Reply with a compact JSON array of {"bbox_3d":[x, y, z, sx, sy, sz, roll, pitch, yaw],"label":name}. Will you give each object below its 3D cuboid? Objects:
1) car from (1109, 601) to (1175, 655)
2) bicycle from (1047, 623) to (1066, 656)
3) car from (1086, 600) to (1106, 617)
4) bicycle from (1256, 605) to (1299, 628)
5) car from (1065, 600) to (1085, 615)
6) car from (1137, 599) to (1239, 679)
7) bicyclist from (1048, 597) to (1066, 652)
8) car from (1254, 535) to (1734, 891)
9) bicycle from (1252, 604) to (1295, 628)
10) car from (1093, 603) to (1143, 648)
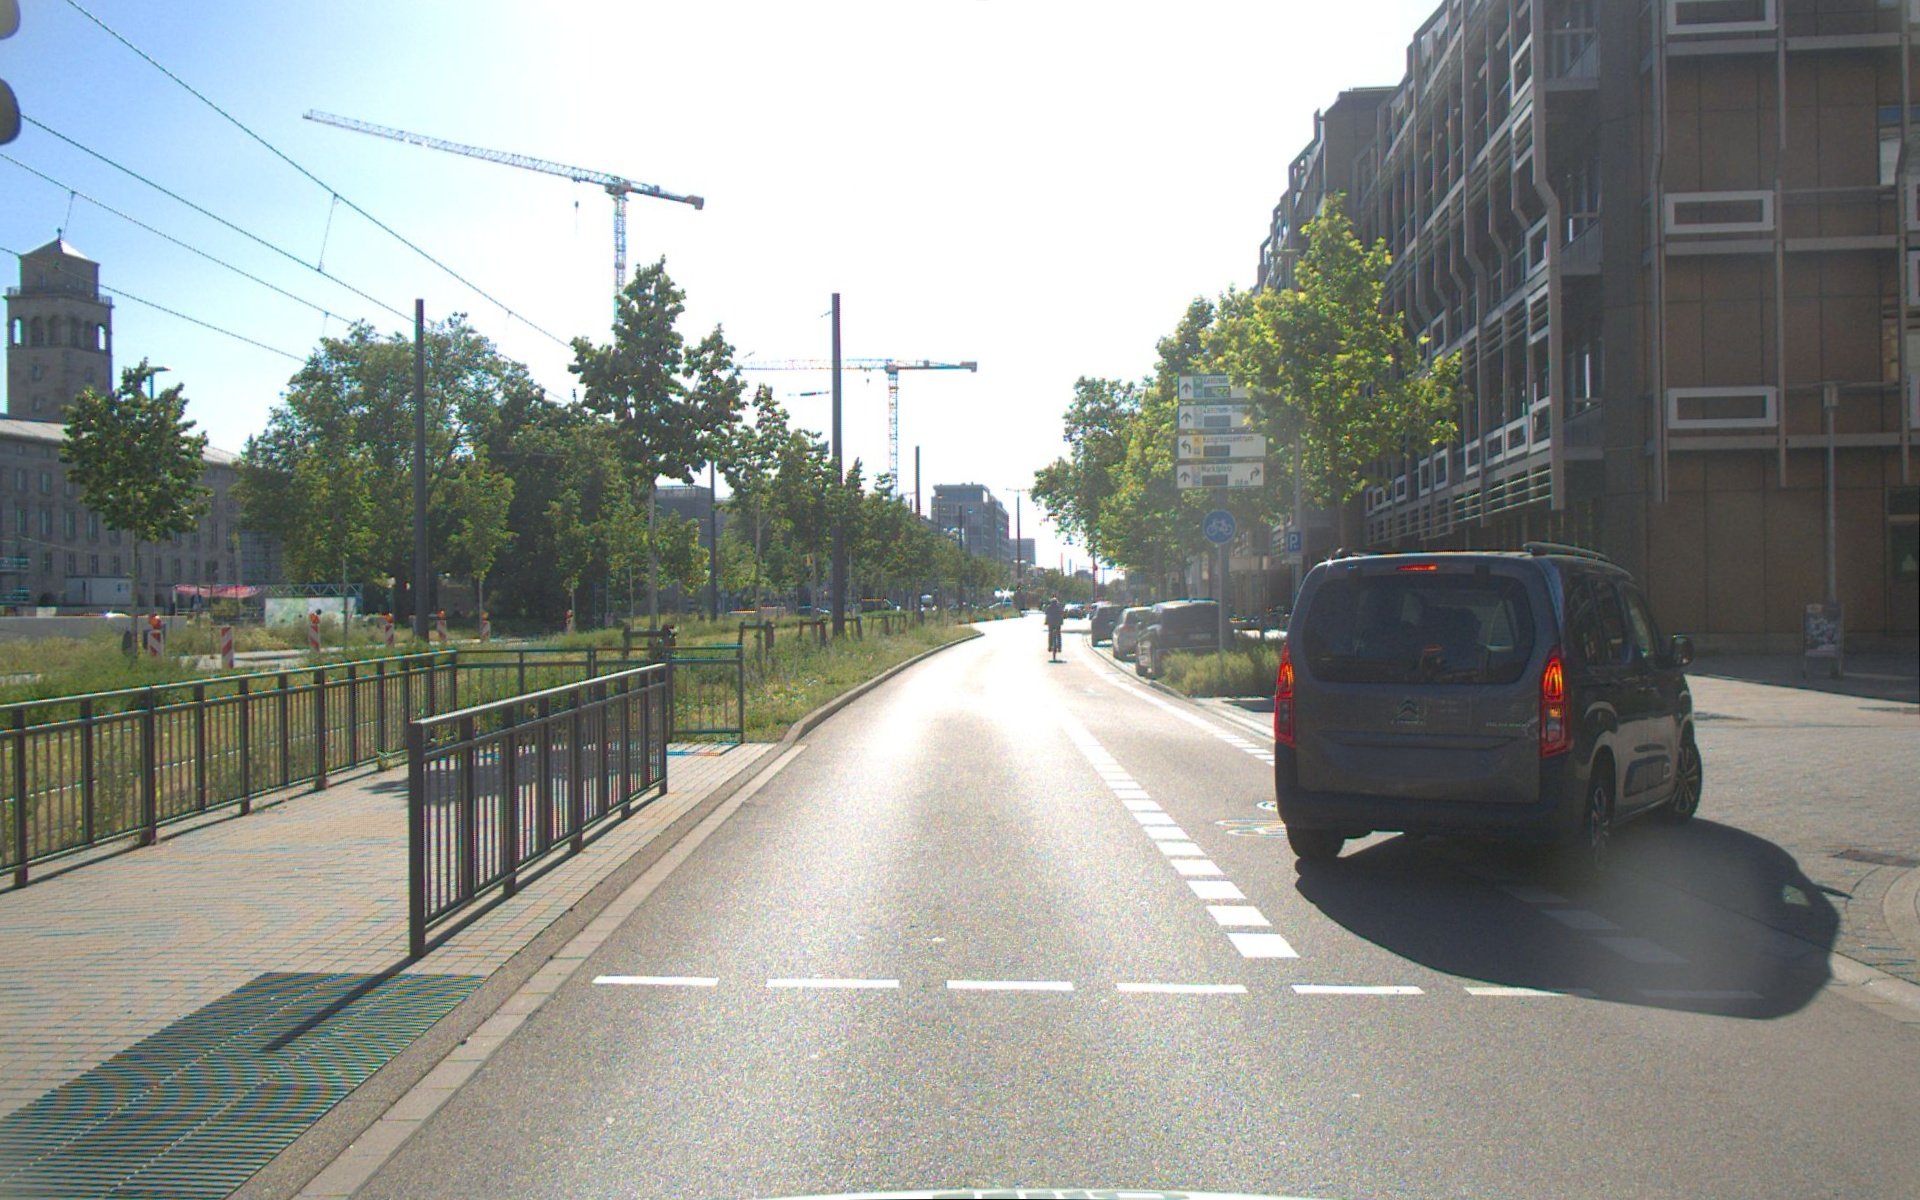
[{"bbox_3d":[5.431,0.811,49.791,1.584,1.490,4.156,-2,0,2],"label":"car"},{"bbox_3d":[2.863,1.158,48.987,0.487,0.921,2.197,1,0,2],"label":"bicycle"},{"bbox_3d":[13.516,0.828,164.404,1.685,1.646,4.189,-1,0,8],"label":"car"},{"bbox_3d":[14.147,0.739,73.784,1.818,0.955,0.427,-3,-1,7],"label":"bicycle"},{"bbox_3d":[11.716,0.742,168.368,1.871,1.512,4.012,-1,0,6],"label":"car"},{"bbox_3d":[5.127,0.850,37.711,1.712,1.688,4.469,-1,0,0],"label":"car"},{"bbox_3d":[2.868,0.717,49.016,0.502,1.629,0.536,-1,0,2],"label":"bicyclist"},{"bbox_3d":[3.567,0.566,10.513,1.780,1.783,4.153,-1,0,35],"label":"car"},{"bbox_3d":[14.196,0.725,74.952,1.818,1.028,0.427,-3,-1,7],"label":"bicycle"},{"bbox_3d":[6.490,1.022,68.285,1.810,1.686,4.850,-2,0,4],"label":"car"}]
